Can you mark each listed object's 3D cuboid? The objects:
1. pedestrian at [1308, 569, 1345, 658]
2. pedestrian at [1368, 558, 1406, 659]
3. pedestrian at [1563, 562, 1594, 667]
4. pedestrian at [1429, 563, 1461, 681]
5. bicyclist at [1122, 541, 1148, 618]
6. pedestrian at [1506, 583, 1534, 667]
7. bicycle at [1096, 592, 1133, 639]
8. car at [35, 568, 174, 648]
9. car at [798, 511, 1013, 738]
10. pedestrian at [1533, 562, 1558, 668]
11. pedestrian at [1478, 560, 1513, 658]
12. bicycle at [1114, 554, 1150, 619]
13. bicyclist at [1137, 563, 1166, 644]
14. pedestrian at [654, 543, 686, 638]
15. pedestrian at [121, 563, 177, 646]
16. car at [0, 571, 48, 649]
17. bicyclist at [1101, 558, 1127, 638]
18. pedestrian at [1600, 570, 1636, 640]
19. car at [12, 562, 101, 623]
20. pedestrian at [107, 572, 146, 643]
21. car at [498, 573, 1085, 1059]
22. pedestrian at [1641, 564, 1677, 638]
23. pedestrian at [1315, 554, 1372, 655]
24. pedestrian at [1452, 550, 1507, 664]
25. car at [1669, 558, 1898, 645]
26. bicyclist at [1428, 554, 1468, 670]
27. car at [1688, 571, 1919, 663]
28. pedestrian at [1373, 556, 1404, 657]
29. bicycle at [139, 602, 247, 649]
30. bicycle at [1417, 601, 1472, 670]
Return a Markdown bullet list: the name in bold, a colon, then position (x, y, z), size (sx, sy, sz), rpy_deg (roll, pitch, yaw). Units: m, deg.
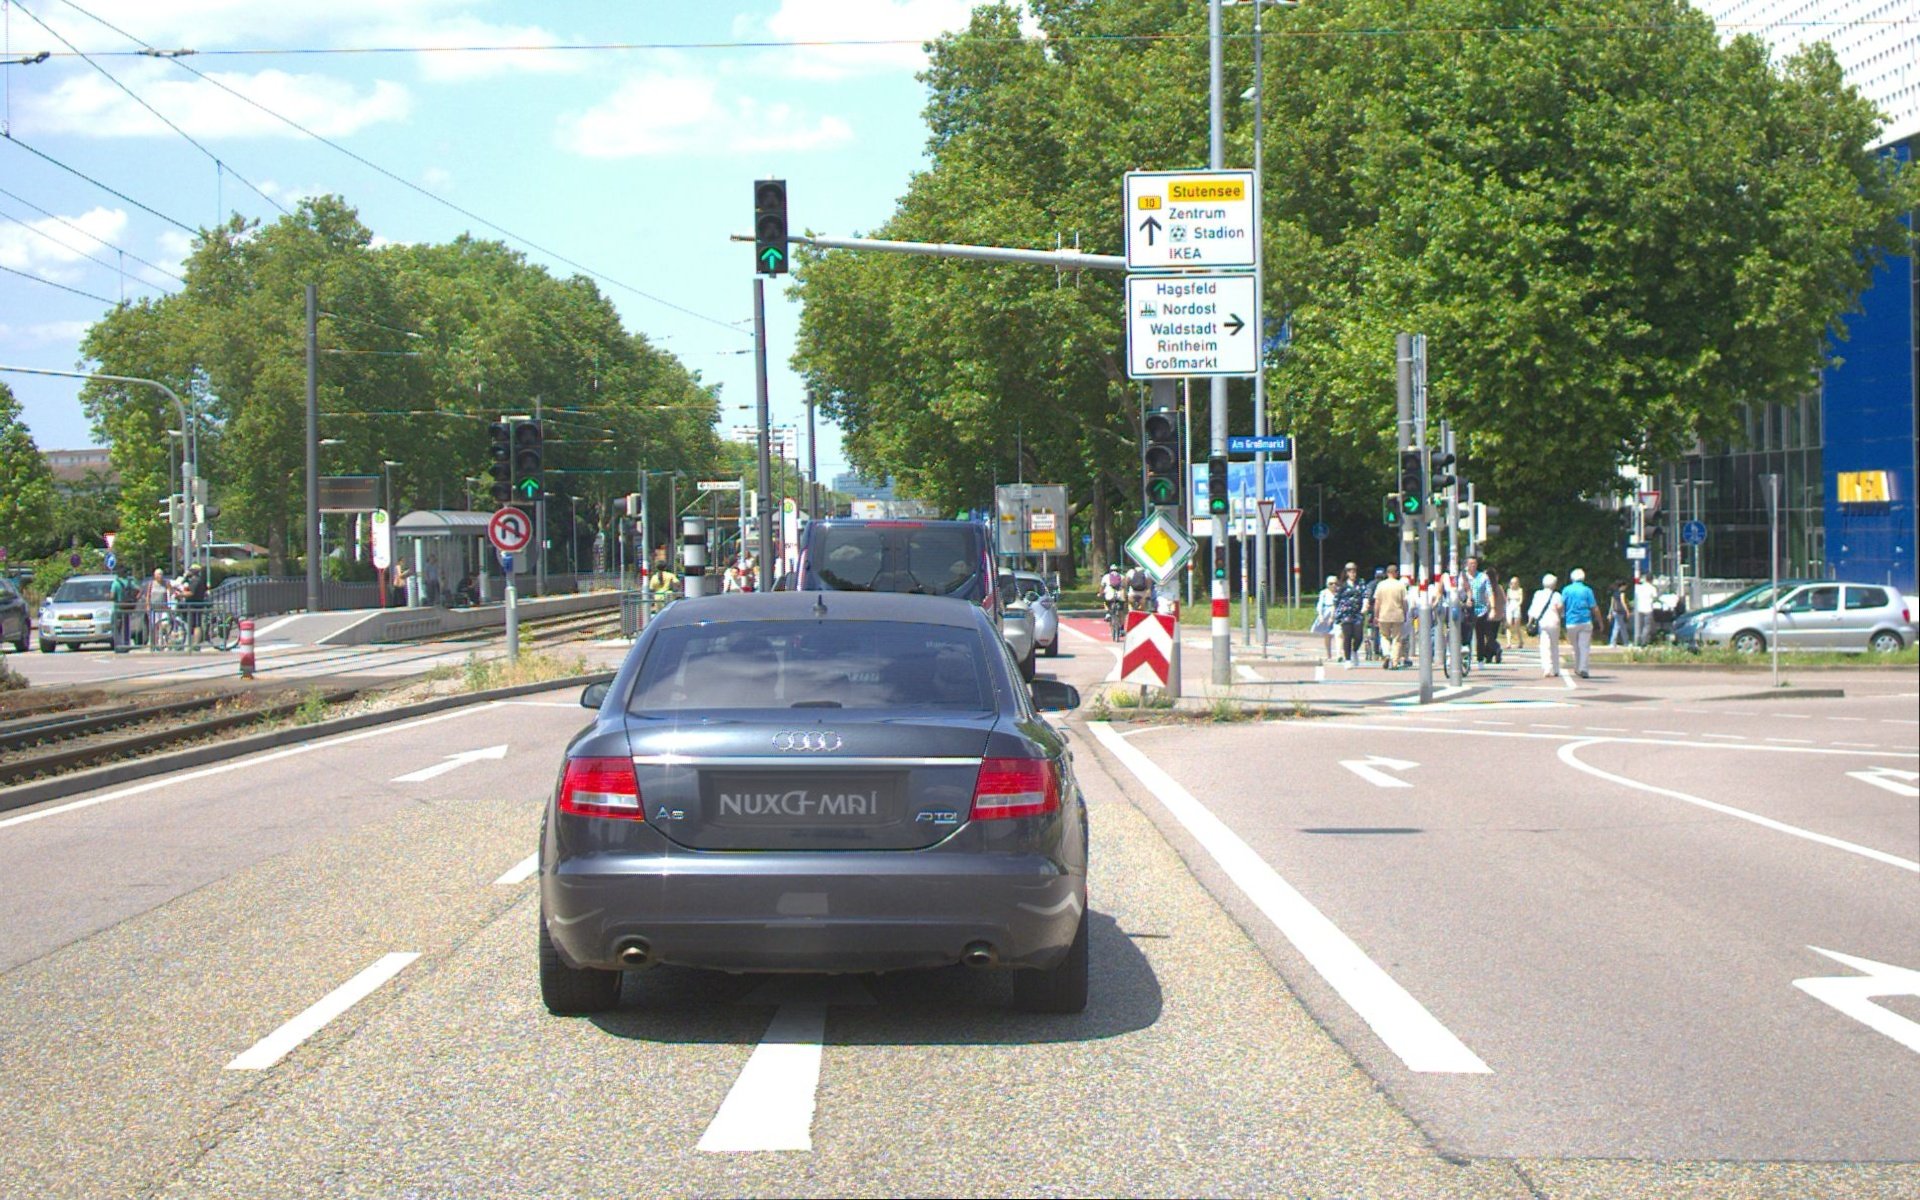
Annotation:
- **pedestrian**: position (6.318, 0.225, 59.301), size (0.494, 1.514, 0.706), rpy_deg (1, 0, 17)
- **pedestrian**: position (6.936, 0.135, 55.886), size (0.554, 1.629, 0.433), rpy_deg (1, 0, 3)
- **pedestrian**: position (9.590, 0.223, 53.309), size (0.398, 1.629, 0.371), rpy_deg (1, 0, 2)
- **pedestrian**: position (6.737, 0.300, 47.770), size (0.381, 1.629, 0.377), rpy_deg (1, 0, 2)
- **bicyclist**: position (4.106, -0.475, 80.687), size (0.528, 1.783, 1.088), rpy_deg (0, 0, 0)
- **pedestrian**: position (8.715, 0.388, 53.520), size (0.372, 1.299, 0.365), rpy_deg (1, 0, 2)
- **bicycle**: position (3.419, 0.338, 76.363), size (0.688, 0.990, 2.751), rpy_deg (1, 1, 0)
- **car**: position (-19.002, 0.157, 76.504), size (1.822, 1.664, 4.461), rpy_deg (1, 1, 2)
- **car**: position (-0.498, 0.200, 31.510), size (1.836, 1.943, 4.000), rpy_deg (0, 0, -1)
- **pedestrian**: position (9.081, 0.233, 53.339), size (0.320, 1.629, 0.377), rpy_deg (1, 0, 2)
- **pedestrian**: position (9.165, 0.146, 58.837), size (0.521, 1.664, 0.494), rpy_deg (1, 0, 3)
- **bicycle**: position (4.055, -0.330, 81.050), size (0.688, 1.514, 2.751), rpy_deg (1, 1, 0)
- **bicyclist**: position (3.980, 0.070, 71.323), size (0.528, 1.670, 1.088), rpy_deg (0, 0, 0)
- **pedestrian**: position (-6.149, -0.206, 72.912), size (0.685, 2.007, 0.573), rpy_deg (0, 0, -4)
- **pedestrian**: position (-16.998, 0.088, 72.061), size (0.824, 1.714, 0.774), rpy_deg (1, 0, 22)
- **car**: position (-21.796, 0.206, 76.150), size (1.822, 1.664, 4.461), rpy_deg (1, 1, 2)
- **bicyclist**: position (3.444, -0.053, 77.164), size (0.528, 1.783, 1.088), rpy_deg (0, 0, 0)
- **pedestrian**: position (14.711, 0.112, 76.843), size (0.705, 1.539, 0.677), rpy_deg (1, 0, 19)
- **car**: position (-28.574, -0.243, 108.822), size (1.817, 1.876, 4.000), rpy_deg (0, 0, -1)
- **pedestrian**: position (-16.858, 0.154, 69.531), size (0.685, 1.438, 0.573), rpy_deg (0, 0, -4)
- **car**: position (-0.532, 0.644, 12.518), size (1.792, 1.450, 4.000), rpy_deg (0, 1, 0)
- **pedestrian**: position (15.576, 0.022, 76.583), size (0.705, 1.629, 0.611), rpy_deg (1, 0, 19)
- **pedestrian**: position (6.265, 0.069, 56.195), size (0.714, 1.629, 0.706), rpy_deg (1, 1, 25)
- **pedestrian**: position (8.420, 0.107, 55.745), size (0.685, 1.840, 0.706), rpy_deg (1, 0, 25)
- **car**: position (15.219, 0.018, 63.678), size (3.789, 1.481, 2.000), rpy_deg (2, 1, 3)
- **bicyclist**: position (7.505, 0.179, 52.833), size (0.529, 1.758, 0.827), rpy_deg (0, 0, 13)
- **car**: position (15.235, 0.296, 60.419), size (4.498, 1.481, 2.000), rpy_deg (2, 1, 3)
- **pedestrian**: position (6.952, 0.099, 55.828), size (0.445, 1.629, 0.430), rpy_deg (1, 0, 2)
- **bicycle**: position (-15.318, 0.511, 68.706), size (2.055, 0.922, 0.753), rpy_deg (0, 0, -10)
- **bicycle**: position (7.429, 0.531, 52.685), size (0.660, 1.018, 1.860), rpy_deg (1, 1, 13)
